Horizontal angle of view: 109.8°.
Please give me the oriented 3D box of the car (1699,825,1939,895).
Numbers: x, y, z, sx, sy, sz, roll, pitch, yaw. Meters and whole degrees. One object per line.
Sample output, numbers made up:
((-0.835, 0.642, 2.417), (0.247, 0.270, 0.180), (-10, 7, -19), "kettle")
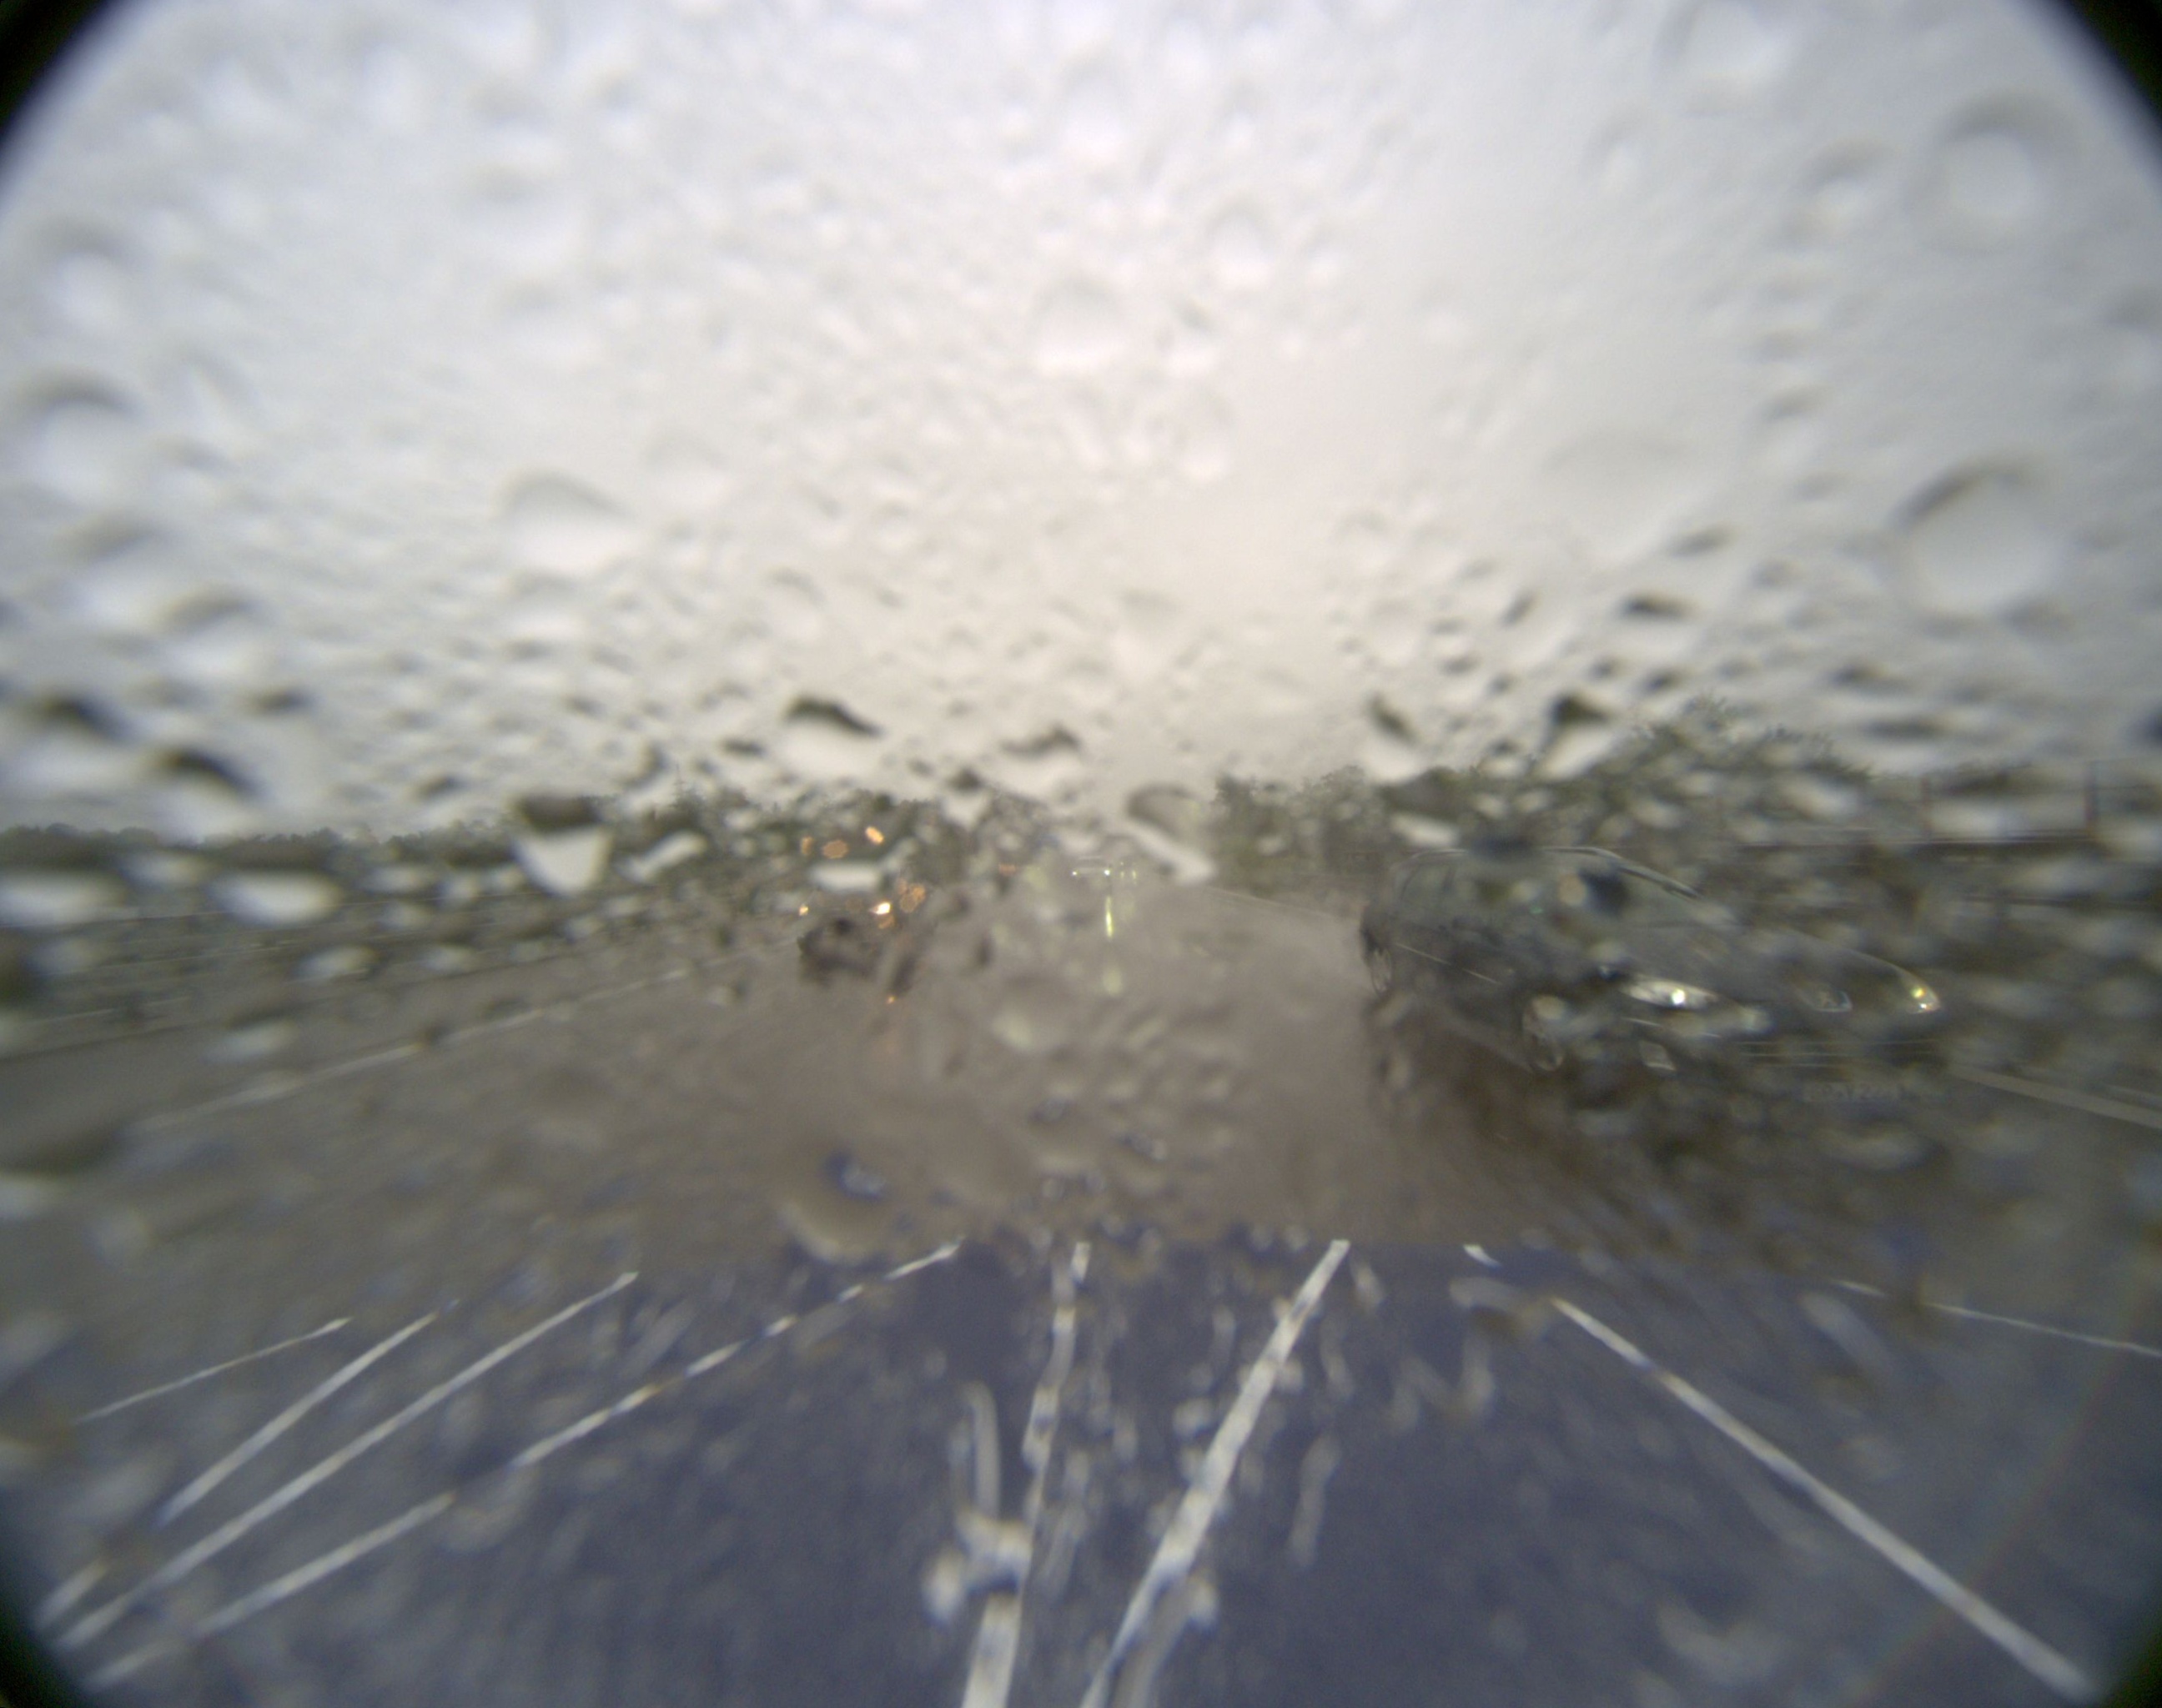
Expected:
((16.987, 0.117, 17.808), (1.843, 1.376, 3.920), (-2, 0, 1), "car")

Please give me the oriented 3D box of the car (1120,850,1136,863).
((5.673, 0.290, 92.194), (1.900, 1.533, 4.090), (-2, 0, 2), "car")

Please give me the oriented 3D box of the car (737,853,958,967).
((-4.187, 0.894, 14.987), (2.463, 1.736, 5.719), (-2, 0, 1), "car")

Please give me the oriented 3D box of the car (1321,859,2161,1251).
((3.657, 0.840, 5.677), (2.059, 1.477, 5.157), (-2, 0, 0), "car")

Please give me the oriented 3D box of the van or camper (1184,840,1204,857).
((15.896, -0.769, 106.997), (1.998, 2.143, 4.947), (-2, 0, 1), "van or camper")

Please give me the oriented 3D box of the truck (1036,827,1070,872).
((-2.651, -0.406, 73.712), (2.755, 4.054, 6.483), (-2, 0, 2), "truck")

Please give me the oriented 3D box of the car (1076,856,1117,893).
((0.770, 0.906, 35.523), (1.751, 1.545, 4.090), (-2, 0, 2), "car")
